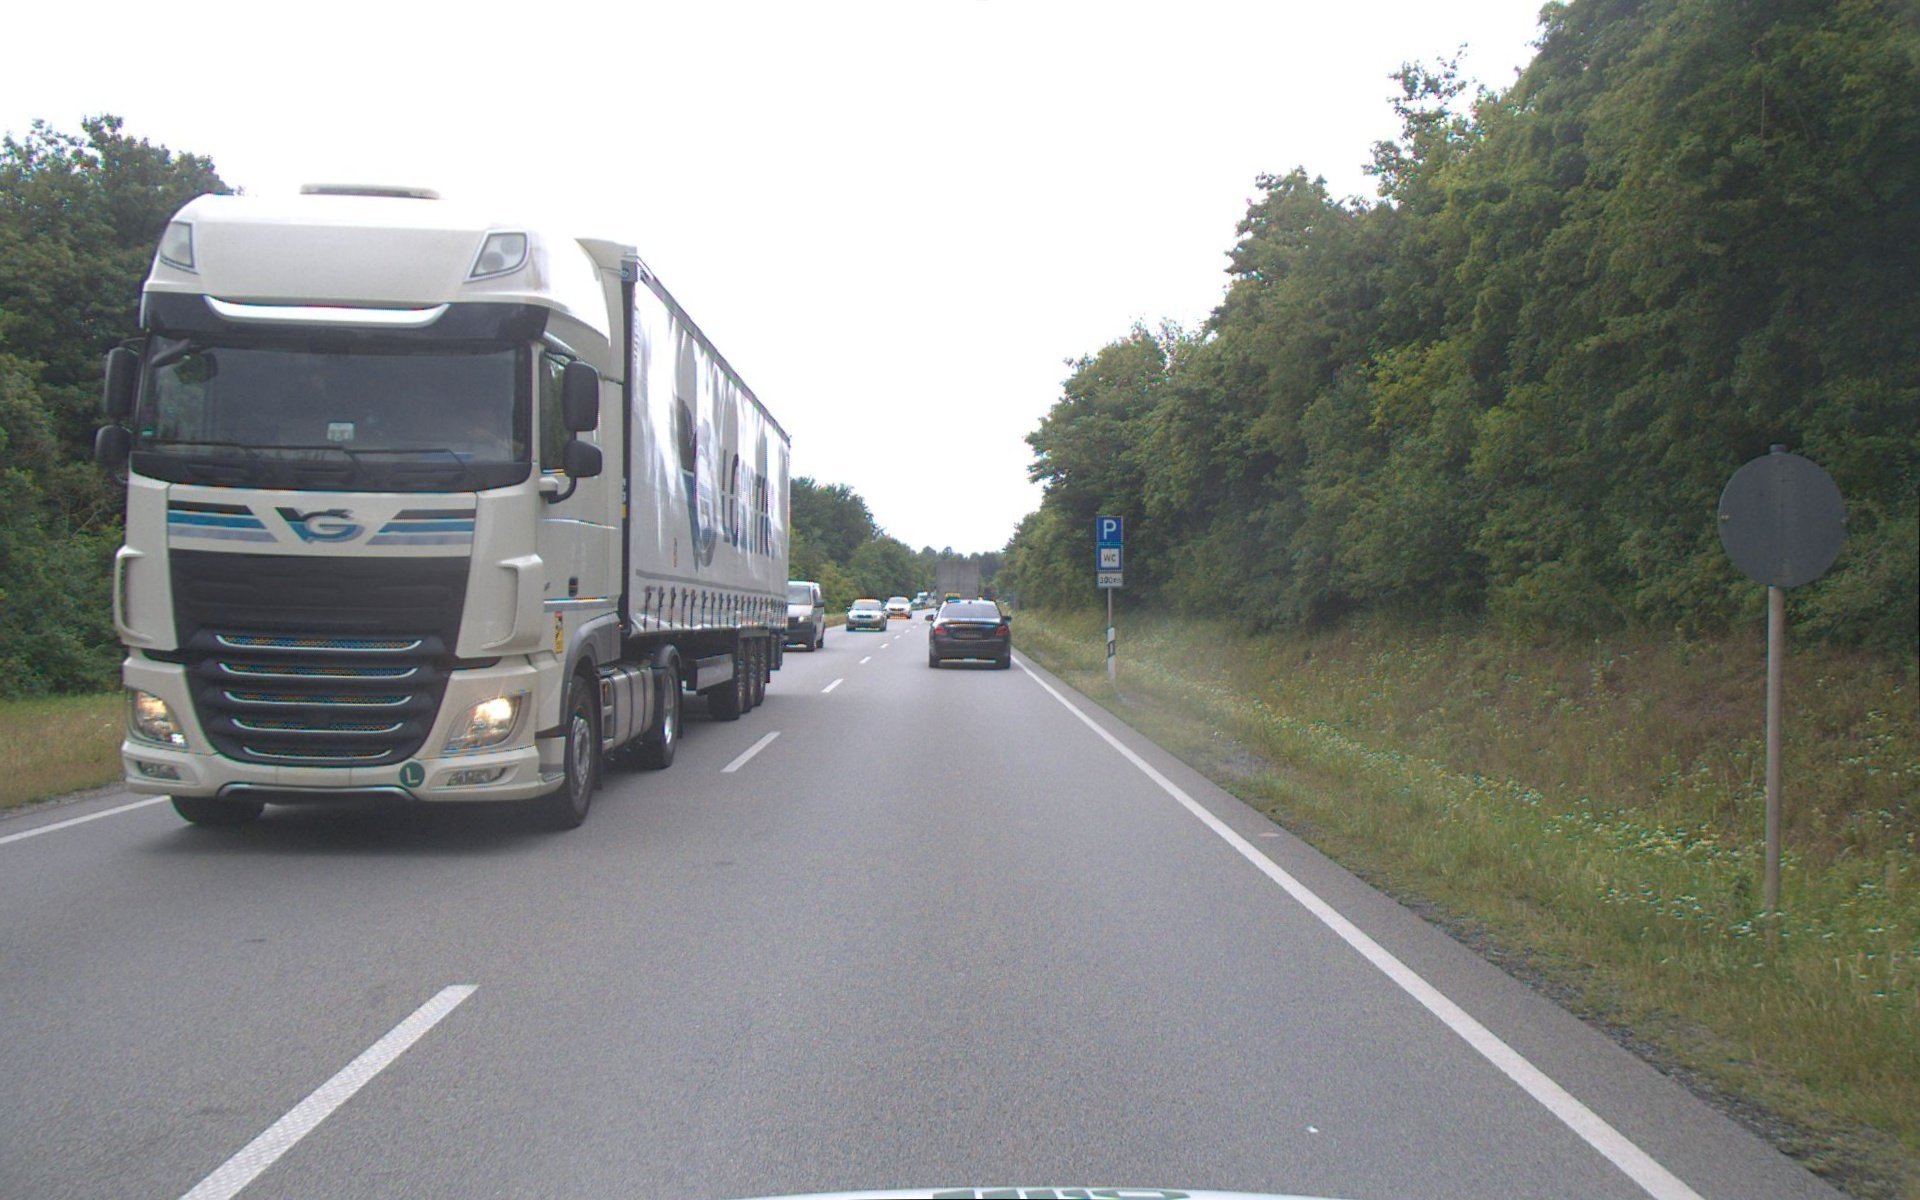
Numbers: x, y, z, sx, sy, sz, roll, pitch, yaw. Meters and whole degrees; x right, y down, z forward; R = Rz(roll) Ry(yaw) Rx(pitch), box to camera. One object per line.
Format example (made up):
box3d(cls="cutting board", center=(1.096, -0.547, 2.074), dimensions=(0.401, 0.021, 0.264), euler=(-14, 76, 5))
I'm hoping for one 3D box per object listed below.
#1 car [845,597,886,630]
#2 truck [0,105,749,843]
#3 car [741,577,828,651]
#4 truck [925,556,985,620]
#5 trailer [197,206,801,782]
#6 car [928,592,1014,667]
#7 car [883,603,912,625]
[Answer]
box3d(cls="car", center=(-4.354, 0.596, 76.622), dimensions=(1.690, 1.459, 4.502), euler=(1, 0, -1))
box3d(cls="truck", center=(-3.957, -0.697, 14.174), dimensions=(3.125, 4.133, 9.573), euler=(1, 0, -1))
box3d(cls="car", center=(-5.040, 0.394, 48.138), dimensions=(1.953, 1.974, 5.810), euler=(1, 0, -1))
box3d(cls="truck", center=(-0.235, -0.700, 102.171), dimensions=(3.213, 3.675, 11.402), euler=(1, 0, 2))
box3d(cls="trailer", center=(-4.036, -0.747, 19.193), dimensions=(3.138, 4.138, 14.269), euler=(1, 0, -1))
box3d(cls="car", center=(0.189, 0.632, 37.219), dimensions=(1.755, 1.579, 3.998), euler=(1, 0, -2))
box3d(cls="car", center=(-4.608, 1.031, 122.237), dimensions=(1.924, 1.601, 5.451), euler=(1, 0, 0))
